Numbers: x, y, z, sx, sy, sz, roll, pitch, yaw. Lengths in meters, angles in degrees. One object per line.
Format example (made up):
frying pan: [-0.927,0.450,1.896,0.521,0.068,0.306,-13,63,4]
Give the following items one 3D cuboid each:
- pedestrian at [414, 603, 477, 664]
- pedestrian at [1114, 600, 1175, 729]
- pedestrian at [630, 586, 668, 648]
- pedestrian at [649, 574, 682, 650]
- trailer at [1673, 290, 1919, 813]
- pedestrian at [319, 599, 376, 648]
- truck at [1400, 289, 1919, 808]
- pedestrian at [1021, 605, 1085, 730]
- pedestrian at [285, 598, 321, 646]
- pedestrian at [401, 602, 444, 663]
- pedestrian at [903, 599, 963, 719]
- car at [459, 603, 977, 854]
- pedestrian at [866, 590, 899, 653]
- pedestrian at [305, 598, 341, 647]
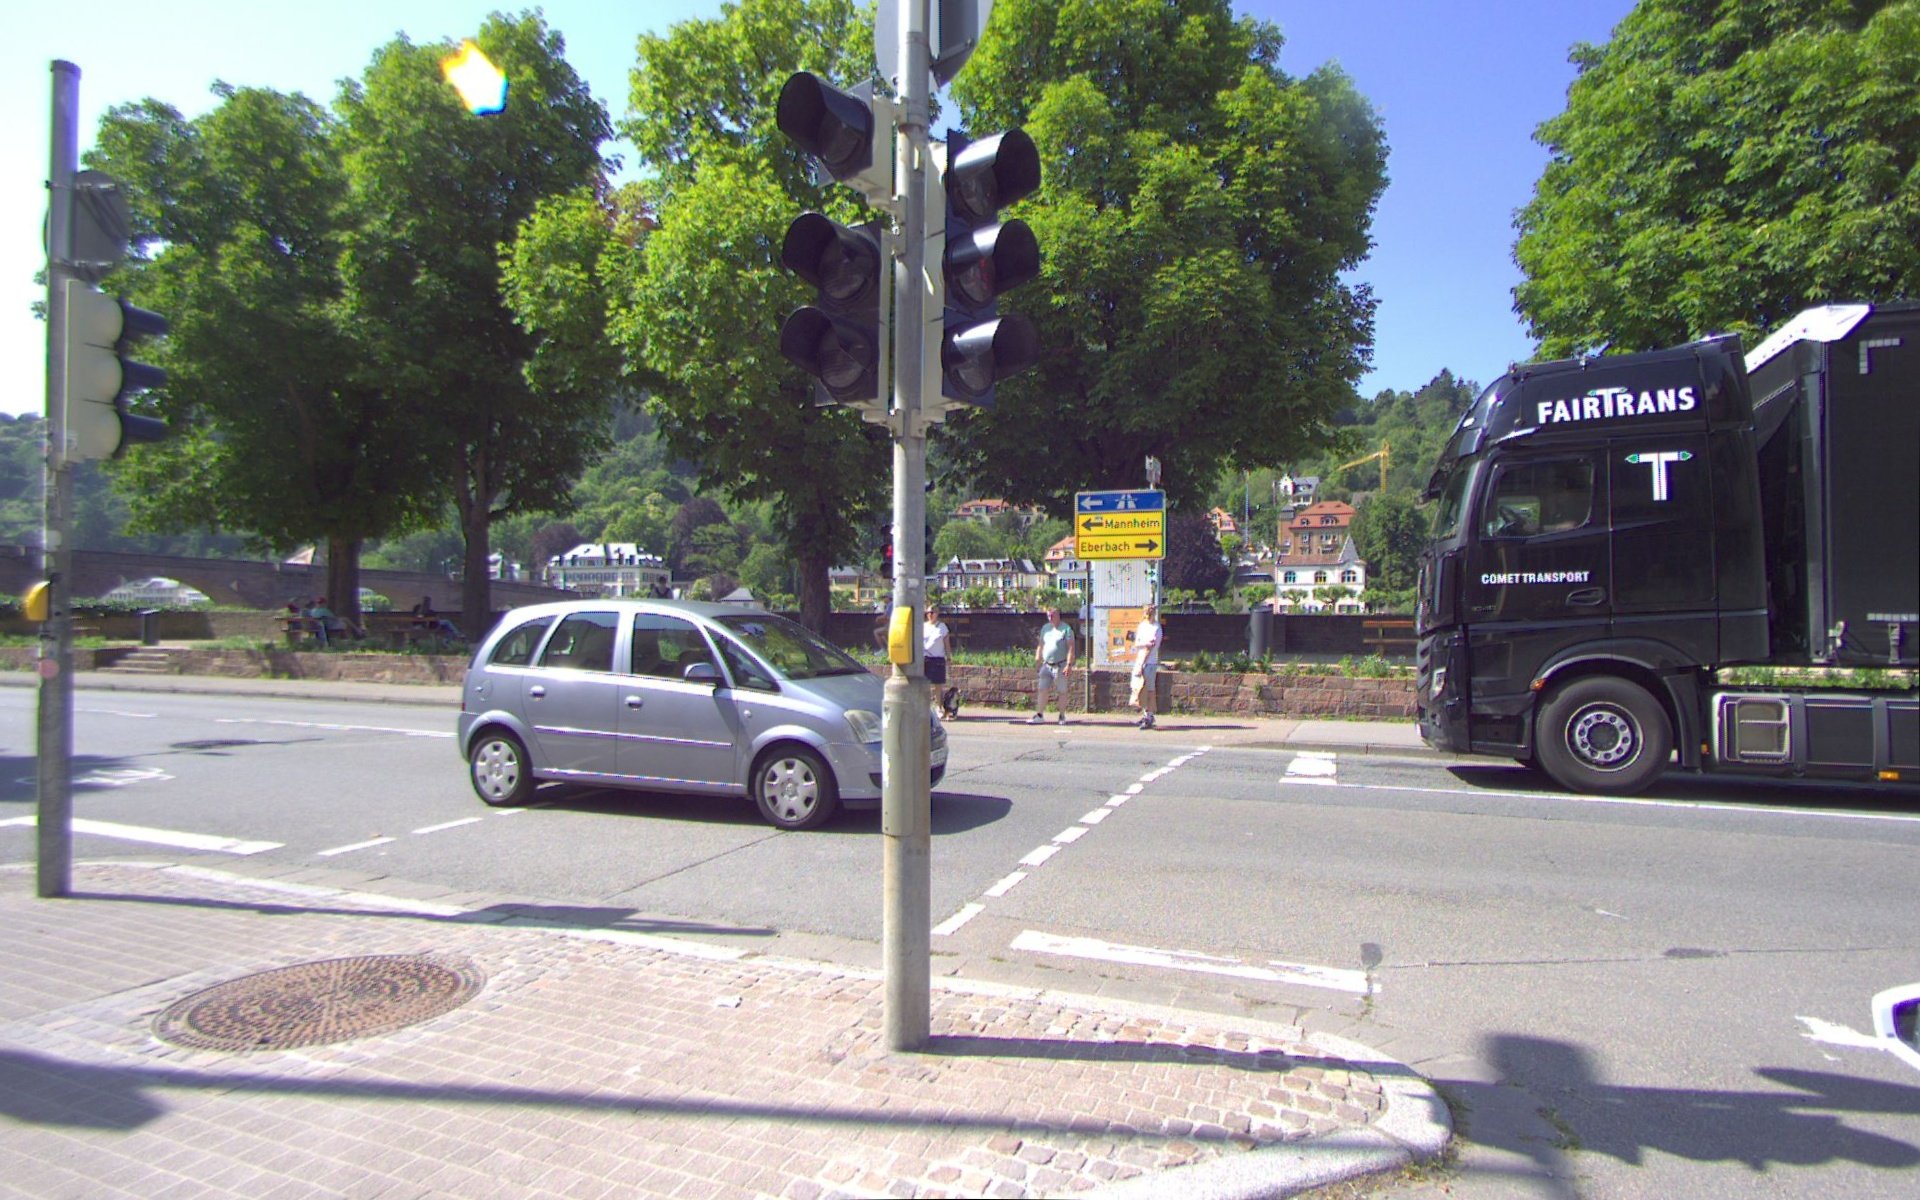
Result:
pedestrian: [-12.996,0.860,25.419,0.460,1.499,1.384,0,-2,25]
pedestrian: [2.686,0.926,14.627,0.693,1.825,0.578,0,-2,34]
pedestrian: [-9.058,0.500,29.258,0.696,1.754,0.757,1,-2,17]
pedestrian: [-7.578,0.321,25.839,0.753,1.882,0.754,2,-2,-17]
trailer: [13.608,-0.340,7.188,13.502,4.157,2.843,0,-3,21]
pedestrian: [-16.413,0.641,26.920,0.460,1.287,1.223,0,-2,25]
truck: [7.449,-0.334,9.521,5.816,4.124,2.840,0,-3,20]
pedestrian: [1.399,0.988,15.082,0.705,1.793,0.688,2,2,31]
pedestrian: [-17.817,0.596,27.238,0.460,1.287,0.631,0,-2,26]
pedestrian: [-13.586,0.830,25.418,0.460,1.512,0.804,0,-2,25]
pedestrian: [-0.418,0.906,15.873,0.623,1.826,0.722,0,1,34]
car: [-1.868,0.855,7.974,3.665,1.632,1.693,0,-1,19]
pedestrian: [-1.578,0.442,20.432,0.631,1.244,0.414,-1,-4,-2]
pedestrian: [-17.032,0.617,26.863,0.460,1.287,0.631,0,-2,26]
